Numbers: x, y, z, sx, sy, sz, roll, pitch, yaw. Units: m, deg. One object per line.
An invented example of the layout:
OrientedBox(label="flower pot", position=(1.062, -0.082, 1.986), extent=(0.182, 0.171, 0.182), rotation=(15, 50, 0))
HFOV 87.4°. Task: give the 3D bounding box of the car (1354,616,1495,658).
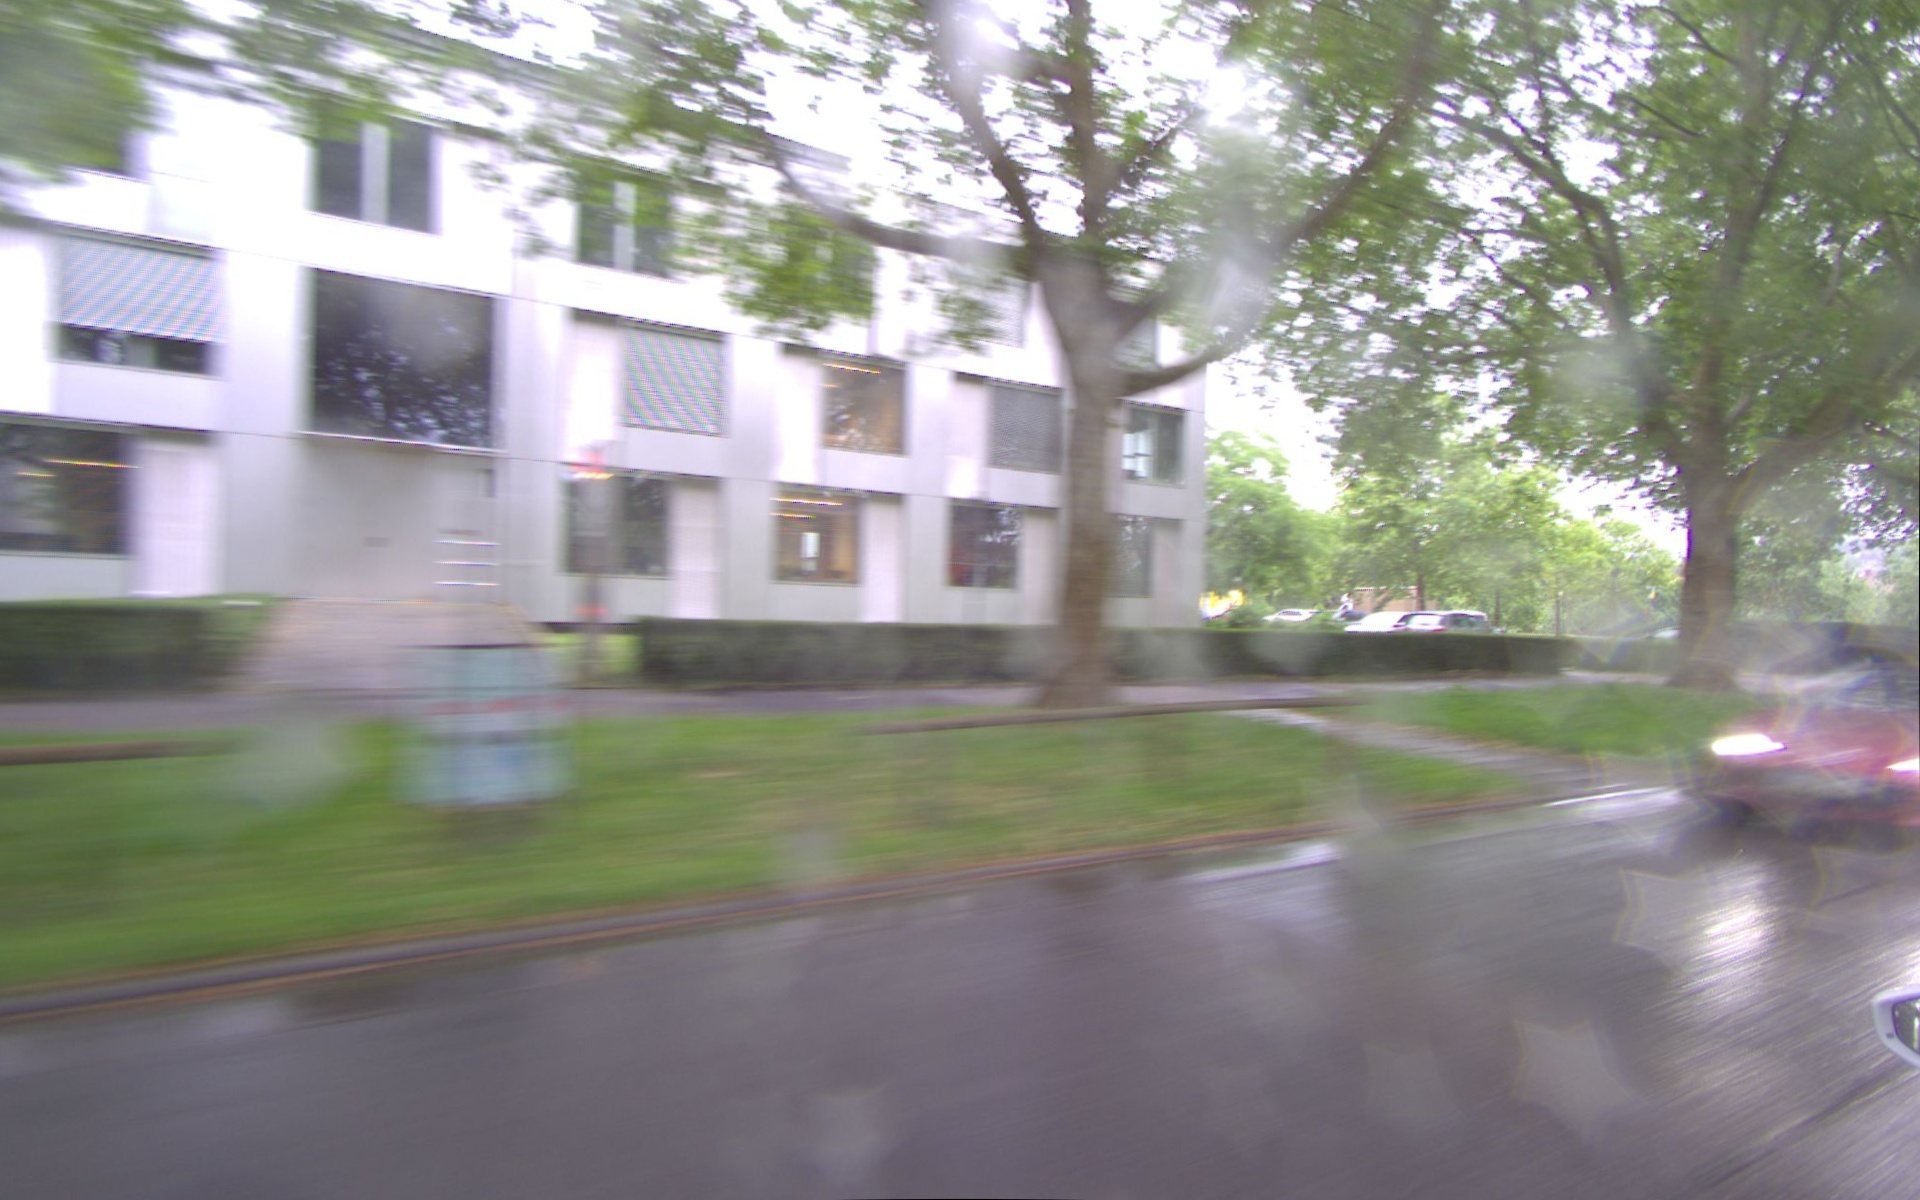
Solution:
OrientedBox(label="car", position=(15.838, 1.239, 34.428), extent=(1.976, 1.150, 3.968), rotation=(1, 1, -30))

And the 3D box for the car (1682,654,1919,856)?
OrientedBox(label="car", position=(7.587, 1.094, 7.991), extent=(3.602, 1.267, 1.698), rotation=(1, -2, -30))
